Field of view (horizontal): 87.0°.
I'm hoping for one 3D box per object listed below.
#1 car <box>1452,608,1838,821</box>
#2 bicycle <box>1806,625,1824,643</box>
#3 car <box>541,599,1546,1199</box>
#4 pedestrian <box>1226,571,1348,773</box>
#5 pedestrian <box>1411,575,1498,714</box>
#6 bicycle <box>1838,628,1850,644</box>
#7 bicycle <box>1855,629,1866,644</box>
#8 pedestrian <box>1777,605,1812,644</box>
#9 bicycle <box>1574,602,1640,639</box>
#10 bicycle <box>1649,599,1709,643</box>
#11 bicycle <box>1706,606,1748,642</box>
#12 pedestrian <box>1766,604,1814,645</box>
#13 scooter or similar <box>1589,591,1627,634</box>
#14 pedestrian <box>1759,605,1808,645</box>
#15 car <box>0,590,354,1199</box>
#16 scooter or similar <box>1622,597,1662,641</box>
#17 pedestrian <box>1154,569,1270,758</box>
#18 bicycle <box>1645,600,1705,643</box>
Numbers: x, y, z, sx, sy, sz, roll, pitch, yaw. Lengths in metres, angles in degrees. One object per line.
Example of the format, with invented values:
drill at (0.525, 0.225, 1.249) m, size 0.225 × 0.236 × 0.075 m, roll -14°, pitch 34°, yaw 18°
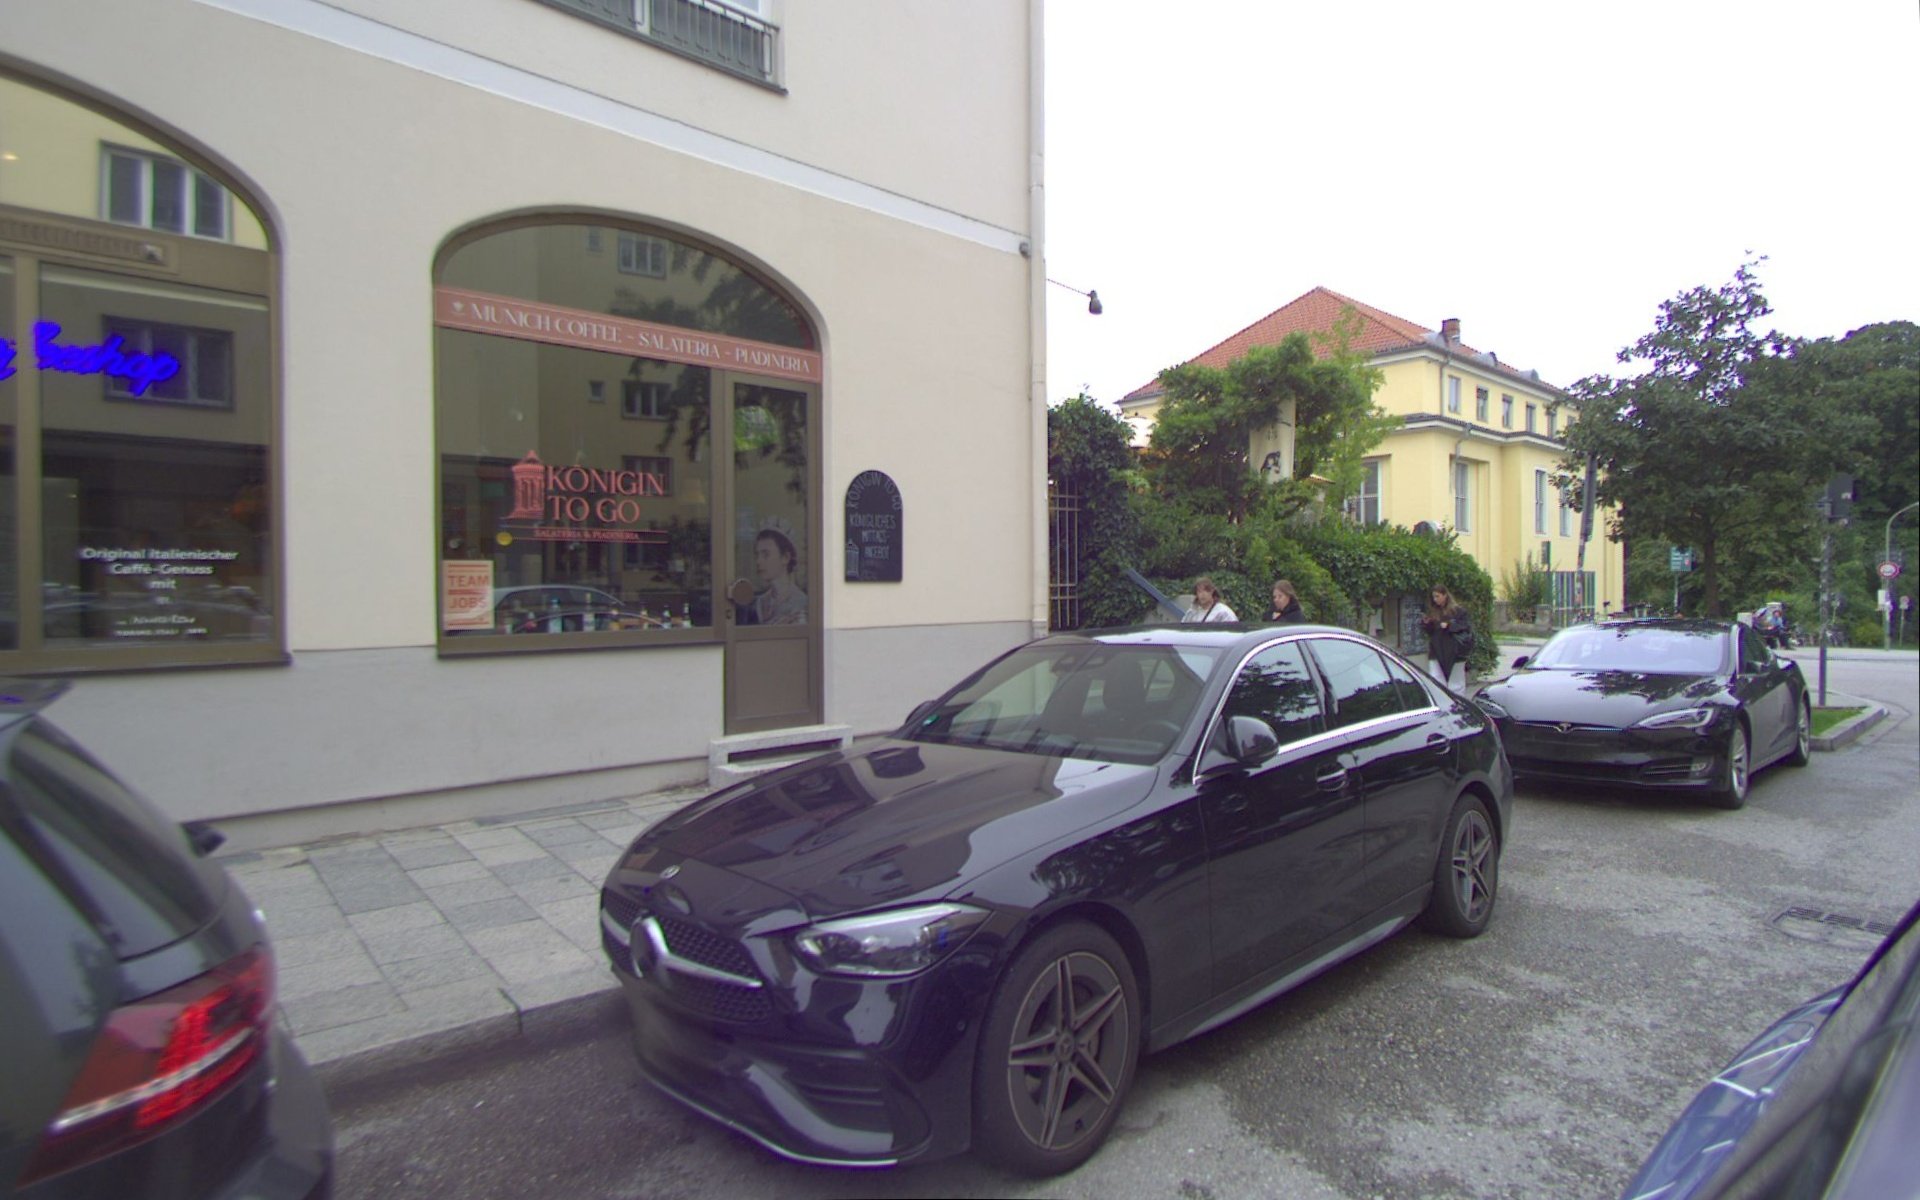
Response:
car at (6.329, 0.800, 9.118) m, size 4.575 × 1.428 × 1.805 m, roll 0°, pitch 0°, yaw -41°
bicycle at (33.538, 1.346, 39.709) m, size 0.890 × 0.684 × 0.216 m, roll 3°, pitch 0°, yaw -30°
car at (0.787, 0.749, 4.246) m, size 4.433 × 1.443 × 1.647 m, roll 0°, pitch -2°, yaw -43°
pedestrian at (2.909, 0.587, 8.993) m, size 0.866 × 1.682 × 0.706 m, roll -2°, pitch 2°, yaw -42°
pedestrian at (6.154, 0.523, 12.600) m, size 0.866 × 1.642 × 0.706 m, roll -2°, pitch 2°, yaw -42°
bicycle at (38.665, 1.569, 44.285) m, size 0.892 × 0.684 × 0.215 m, roll 3°, pitch 1°, yaw -39°
bicycle at (41.954, 1.691, 47.154) m, size 0.893 × 0.665 × 0.242 m, roll 3°, pitch 1°, yaw -41°
pedestrian at (27.606, 0.815, 33.484) m, size 0.883 × 1.251 × 0.542 m, roll 0°, pitch -3°, yaw 39°
bicycle at (19.953, 0.629, 31.241) m, size 1.638 × 1.006 × 0.246 m, roll 4°, pitch 1°, yaw 26°
bicycle at (21.789, 0.637, 30.667) m, size 1.623 × 1.213 × 0.169 m, roll 3°, pitch 0°, yaw 1°
bicycle at (23.681, 0.738, 31.231) m, size 1.620 × 1.051 × 0.308 m, roll 3°, pitch 0°, yaw -27°
pedestrian at (27.116, 0.802, 33.071) m, size 1.172 × 1.310 × 0.630 m, roll 0°, pitch -3°, yaw 39°
scooter or similar at (19.466, 0.381, 30.406) m, size 1.363 × 1.263 × 0.397 m, roll 2°, pitch 0°, yaw -33°
pedestrian at (26.411, 0.803, 32.469) m, size 1.210 × 1.264 × 0.630 m, roll 0°, pitch -3°, yaw 39°
car at (-2.877, 0.721, 0.540) m, size 4.133 × 1.443 × 1.676 m, roll 0°, pitch -2°, yaw -44°
scooter or similar at (20.110, 0.550, 29.853) m, size 0.317 × 1.228 × 1.118 m, roll 2°, pitch 0°, yaw -4°
pedestrian at (2.382, 0.551, 9.561) m, size 0.866 × 1.682 × 0.706 m, roll -2°, pitch 2°, yaw -42°
bicycle at (21.802, 0.641, 30.865) m, size 1.623 × 1.206 × 0.202 m, roll 3°, pitch 0°, yaw 1°
